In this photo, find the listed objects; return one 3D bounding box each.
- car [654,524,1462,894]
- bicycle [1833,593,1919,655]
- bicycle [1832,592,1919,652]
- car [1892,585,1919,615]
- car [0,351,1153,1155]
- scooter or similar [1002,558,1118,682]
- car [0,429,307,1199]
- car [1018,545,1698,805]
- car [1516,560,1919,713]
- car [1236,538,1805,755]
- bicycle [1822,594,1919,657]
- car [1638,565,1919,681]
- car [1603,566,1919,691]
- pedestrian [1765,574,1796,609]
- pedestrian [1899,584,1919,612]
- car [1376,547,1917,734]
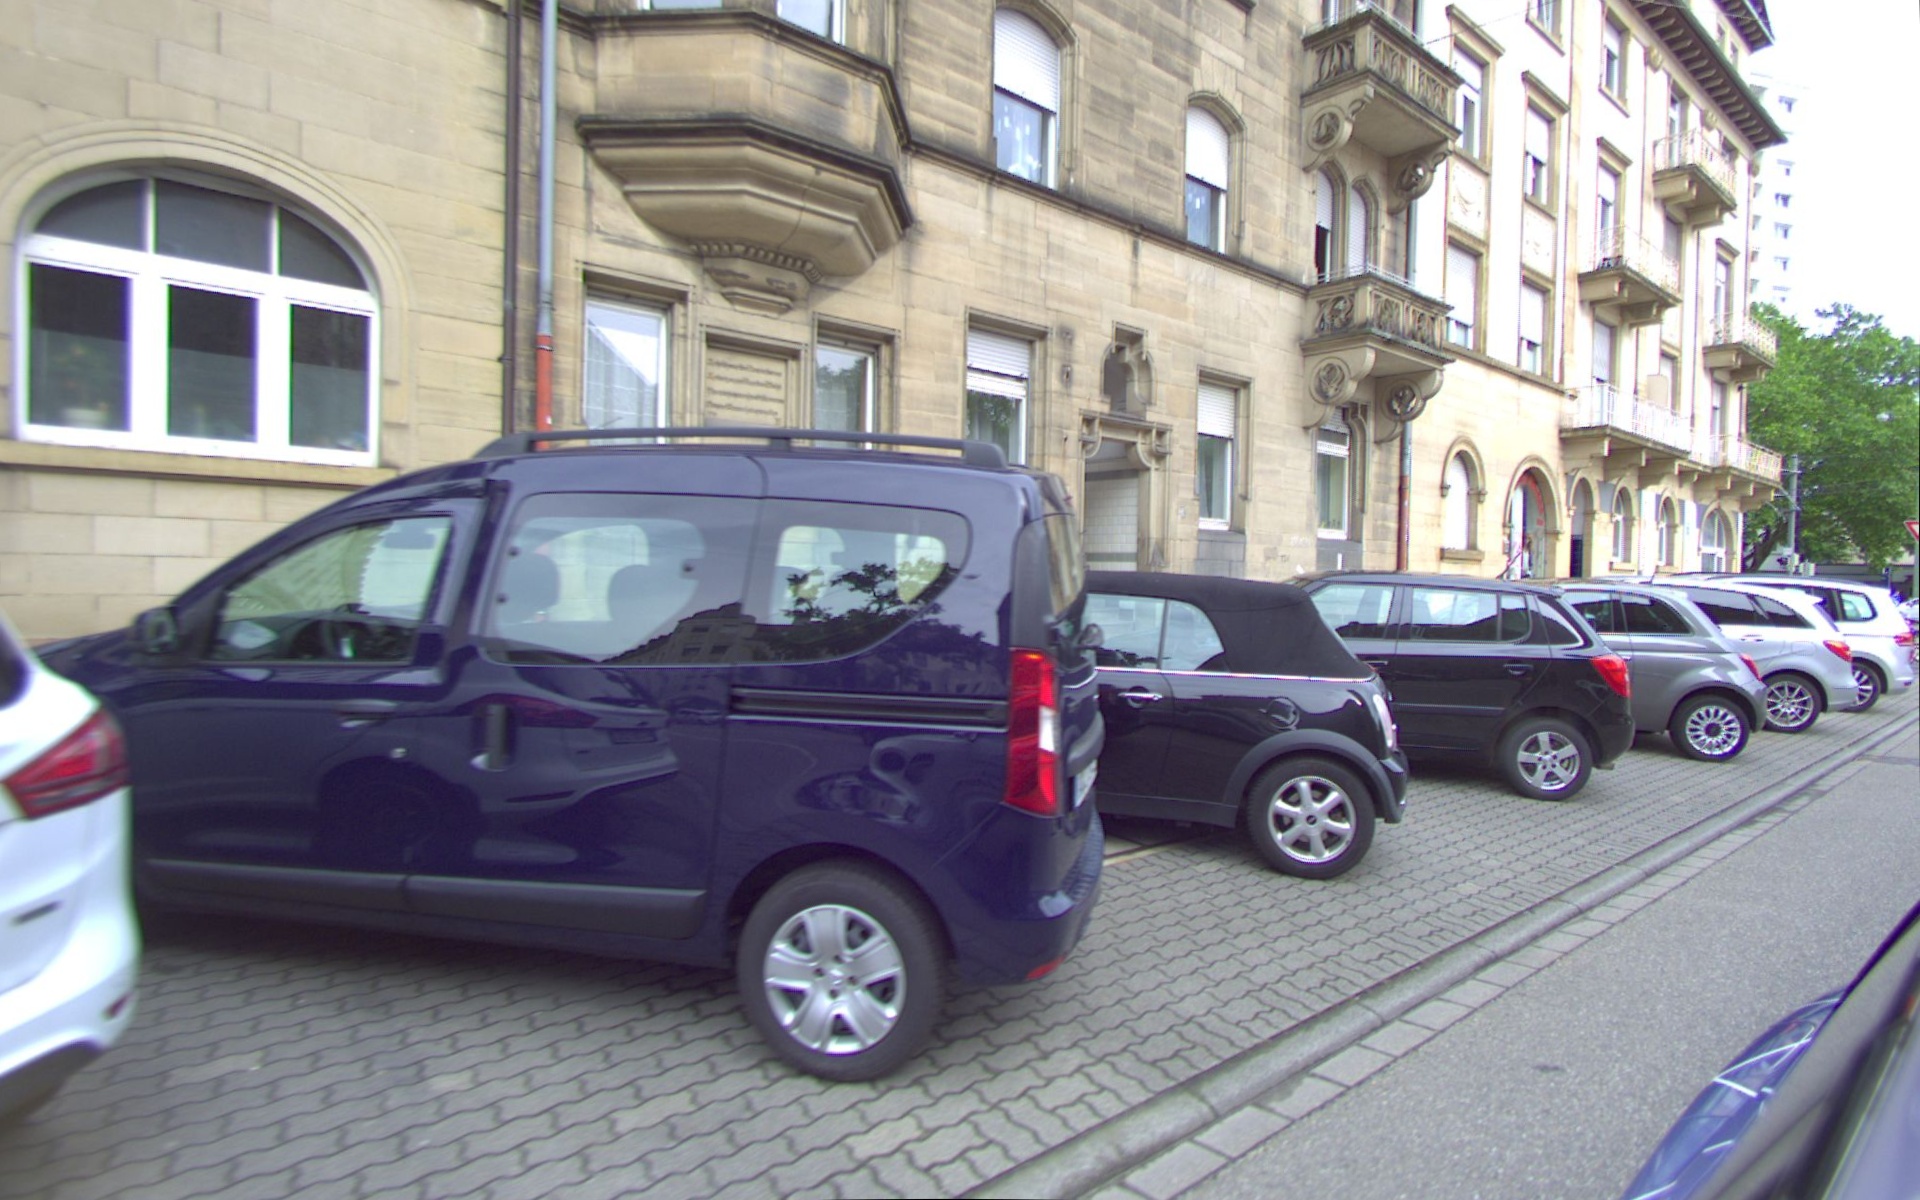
[{"bbox_3d":[0.508,0.427,6.113,4.009,1.470,2.026,5,4,12],"label":"car"},{"bbox_3d":[19.446,0.493,21.246,0.468,1.140,1.571,-1,5,-40],"label":"bicycle"},{"bbox_3d":[19.763,0.456,21.634,0.468,1.140,1.571,-1,5,-40],"label":"bicycle"},{"bbox_3d":[46.204,0.034,47.048,1.672,1.415,3.899,-1,2,-14],"label":"car"},{"bbox_3d":[-1.508,0.267,3.818,4.213,1.930,1.875,4,2,9],"label":"car"},{"bbox_3d":[1.058,0.179,10.631,1.197,1.201,0.435,-2,8,-39],"label":"scooter or similar"},{"bbox_3d":[-3.656,0.380,1.900,3.937,1.621,1.761,4,2,11],"label":"car"},{"bbox_3d":[2.781,0.433,7.941,4.396,1.571,1.846,2,2,12],"label":"car"},{"bbox_3d":[10.135,0.385,13.680,4.167,1.702,1.907,3,3,17],"label":"car"},{"bbox_3d":[5.064,0.334,9.825,4.397,1.593,1.741,4,2,12],"label":"car"},{"bbox_3d":[18.998,0.519,20.994,0.468,1.140,1.571,-1,5,-40],"label":"bicycle"},{"bbox_3d":[14.209,0.353,17.336,3.766,1.579,1.794,4,4,4],"label":"car"},{"bbox_3d":[12.242,0.374,15.439,3.530,1.526,1.846,4,4,9],"label":"car"},{"bbox_3d":[40.269,-0.429,49.668,0.727,1.716,0.881,-1,1,-14],"label":"pedestrian"},{"bbox_3d":[51.892,-0.123,55.164,0.543,1.527,0.855,-1,1,-21],"label":"pedestrian"},{"bbox_3d":[7.539,0.328,11.733,4.684,1.705,1.929,3,3,15],"label":"car"}]
